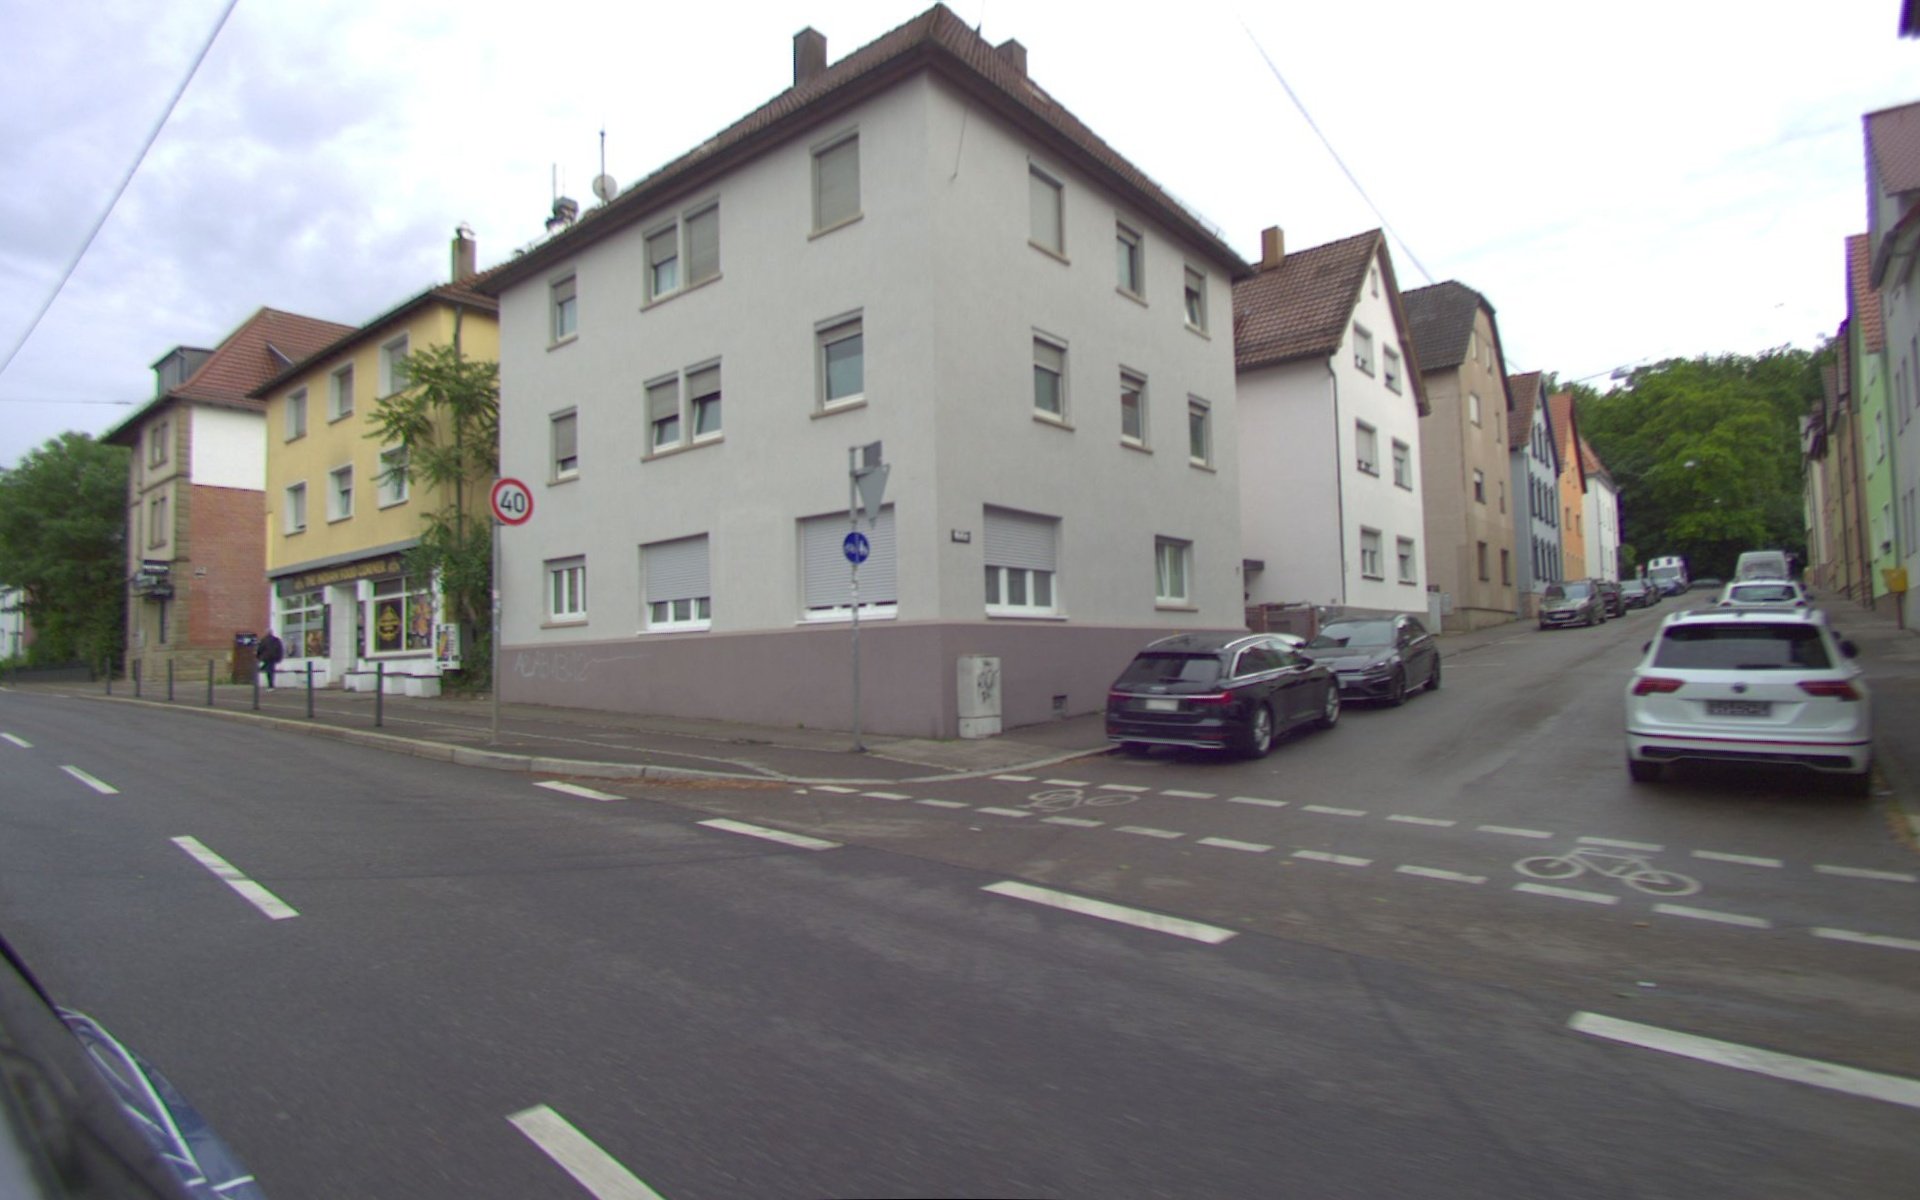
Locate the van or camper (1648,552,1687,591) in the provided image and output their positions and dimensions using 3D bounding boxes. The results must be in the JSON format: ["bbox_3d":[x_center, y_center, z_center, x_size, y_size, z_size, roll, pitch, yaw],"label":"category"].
[{"bbox_3d":[51.289,-2.097,73.292,1.832,2.627,4.601,-3,0,40],"label":"van or camper"}]

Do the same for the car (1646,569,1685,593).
[{"bbox_3d":[48.162,-1.290,69.056,1.832,1.478,3.976,-2,1,40],"label":"car"}]

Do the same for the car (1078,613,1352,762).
[{"bbox_3d":[3.487,1.020,13.336,1.998,1.464,3.948,-3,0,39],"label":"car"}]

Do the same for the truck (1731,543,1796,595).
[{"bbox_3d":[40.758,-1.619,51.255,2.247,2.384,7.402,-3,1,41],"label":"truck"}]

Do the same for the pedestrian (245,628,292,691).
[{"bbox_3d":[-19.161,1.640,28.036,0.991,1.692,0.807,-2,-1,37],"label":"pedestrian"}]

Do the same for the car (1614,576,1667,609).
[{"bbox_3d":[35.342,-0.404,52.496,1.832,1.478,3.976,-2,1,40],"label":"car"}]

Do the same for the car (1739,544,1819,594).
[{"bbox_3d":[25.970,-1.010,32.199,1.831,1.418,4.143,-3,0,38],"label":"car"}]

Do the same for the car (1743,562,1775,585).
[{"bbox_3d":[65.066,-2.139,82.440,1.832,1.716,4.140,-3,0,41],"label":"car"}]

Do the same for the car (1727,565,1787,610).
[{"bbox_3d":[33.611,-0.547,42.680,1.831,1.716,4.142,-3,0,39],"label":"car"}]

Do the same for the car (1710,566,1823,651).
[{"bbox_3d":[18.438,0.140,23.217,1.831,1.716,4.143,-3,0,38],"label":"car"}]

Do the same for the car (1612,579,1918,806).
[{"bbox_3d":[8.131,0.739,10.296,1.998,1.716,4.141,-3,0,40],"label":"car"}]

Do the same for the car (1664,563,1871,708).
[{"bbox_3d":[11.531,0.407,14.487,1.998,1.716,4.141,-3,0,40],"label":"car"}]

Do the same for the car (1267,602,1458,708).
[{"bbox_3d":[7.078,0.872,17.590,1.972,1.464,3.948,-3,0,39],"label":"car"}]

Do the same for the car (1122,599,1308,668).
[{"bbox_3d":[6.137,0.799,24.609,3.997,1.532,1.779,-2,0,41],"label":"car"}]

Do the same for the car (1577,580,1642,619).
[{"bbox_3d":[27.954,-0.052,43.497,1.832,1.478,3.976,-2,1,40],"label":"car"}]

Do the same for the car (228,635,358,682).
[{"bbox_3d":[-24.299,2.108,36.931,1.944,1.497,3.531,-3,-1,38],"label":"car"}]

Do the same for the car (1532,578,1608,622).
[{"bbox_3d":[23.092,-0.017,38.265,1.832,1.478,3.976,-2,1,40],"label":"car"}]
